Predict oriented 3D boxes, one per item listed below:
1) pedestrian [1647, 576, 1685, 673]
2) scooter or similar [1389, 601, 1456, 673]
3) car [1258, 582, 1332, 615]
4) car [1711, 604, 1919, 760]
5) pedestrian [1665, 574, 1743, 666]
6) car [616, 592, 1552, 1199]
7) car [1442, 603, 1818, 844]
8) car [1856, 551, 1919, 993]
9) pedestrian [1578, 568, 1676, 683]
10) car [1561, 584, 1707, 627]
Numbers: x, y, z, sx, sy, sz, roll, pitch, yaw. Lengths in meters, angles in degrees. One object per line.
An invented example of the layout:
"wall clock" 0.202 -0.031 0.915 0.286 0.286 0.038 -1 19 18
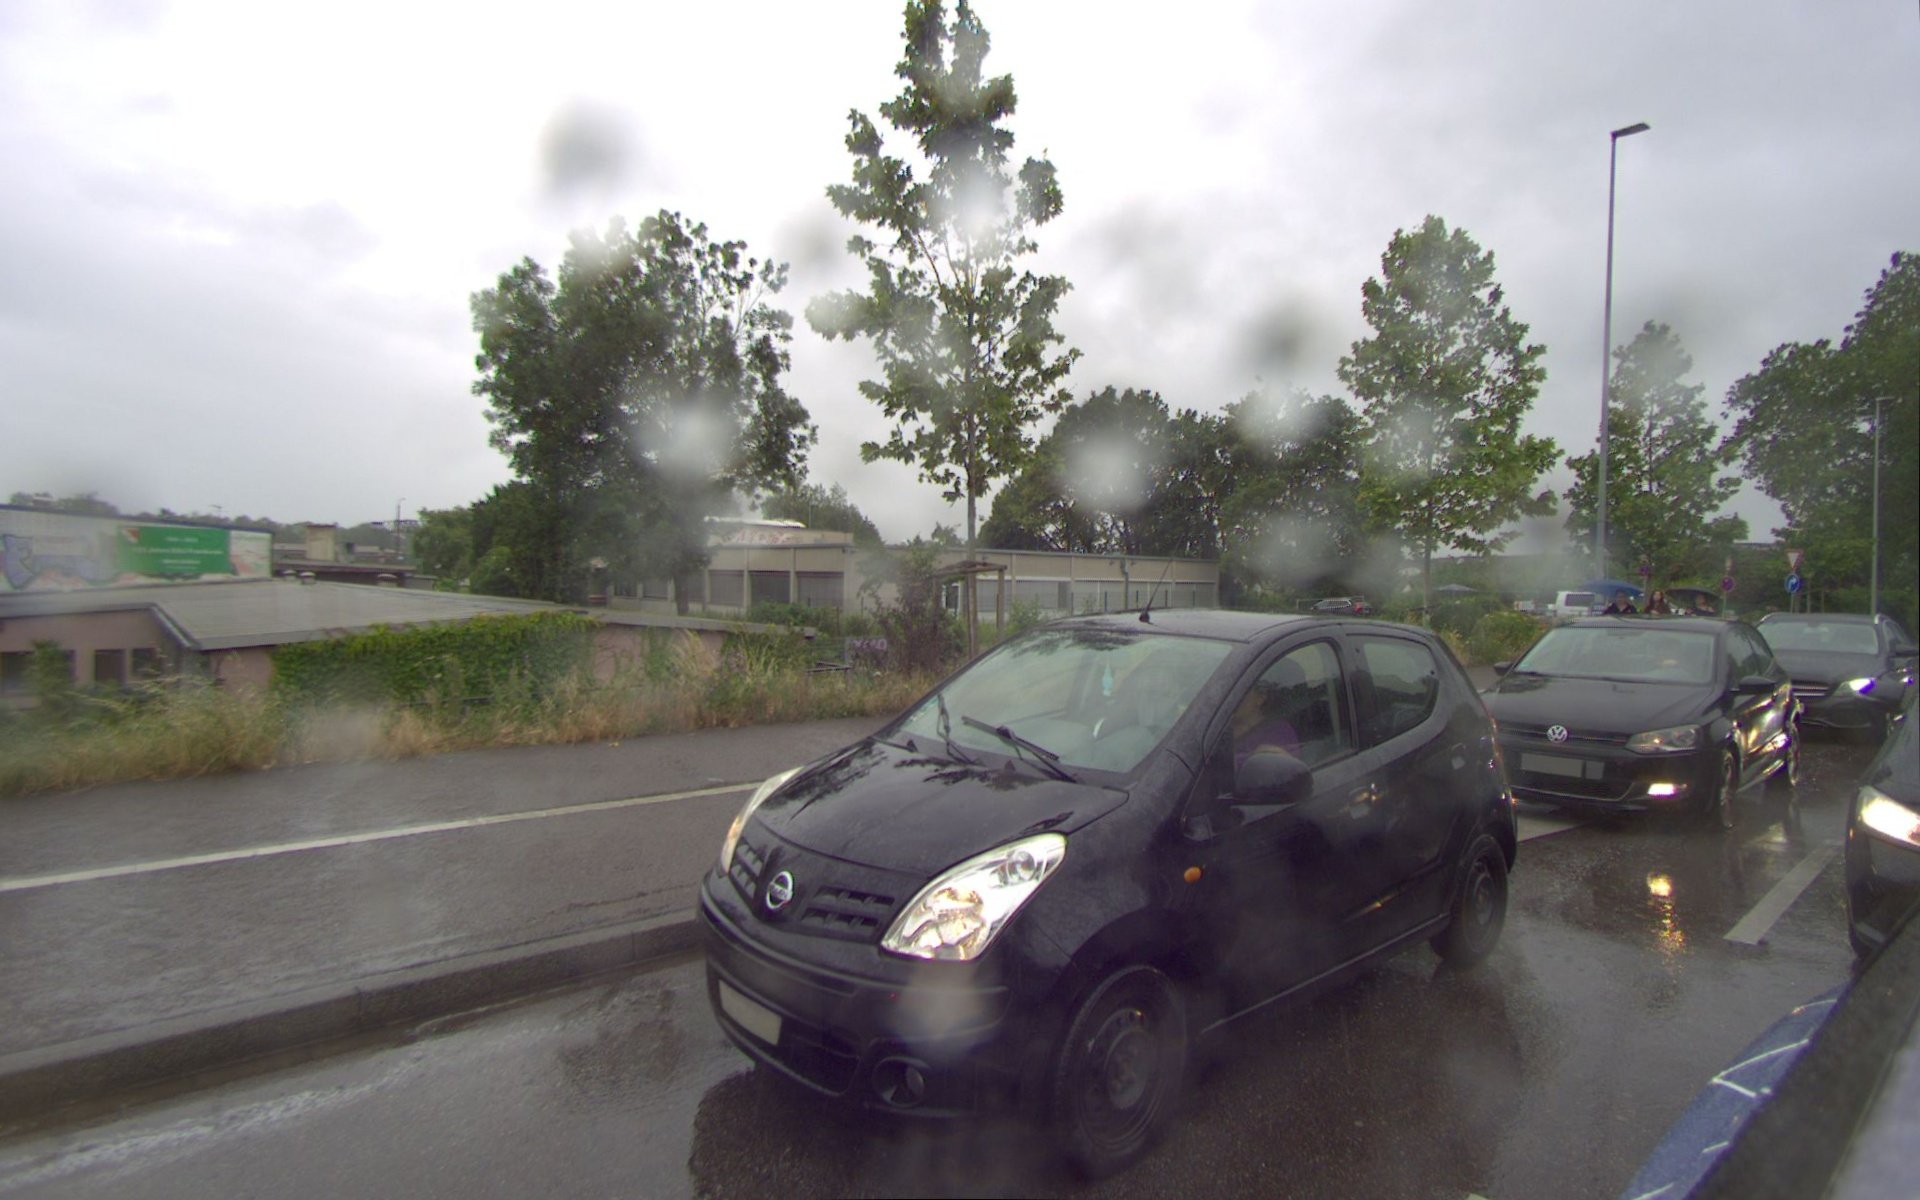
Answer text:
"pedestrian" 12.580 0.424 18.025 0.433 1.682 0.400 0 3 -42
"scooter or similar" 7.899 0.611 17.243 1.747 1.144 0.380 -1 2 -43
"car" 21.002 -0.105 63.470 1.964 2.039 3.996 0 0 -38
"car" 10.850 0.874 12.560 3.747 1.594 1.697 -1 0 -41
"pedestrian" 14.861 0.373 20.226 0.876 1.729 1.024 0 3 -41
"car" 0.743 0.713 3.873 3.561 1.447 1.631 0 0 -42
"car" 5.360 0.757 7.937 3.561 1.447 1.631 0 0 -42
"car" 5.467 0.607 4.506 4.091 1.607 1.688 -1 0 -41
"pedestrian" 10.924 0.391 16.575 0.953 1.777 1.081 0 3 -42
"car" 28.171 0.199 42.411 1.966 1.670 4.752 -1 1 -42
